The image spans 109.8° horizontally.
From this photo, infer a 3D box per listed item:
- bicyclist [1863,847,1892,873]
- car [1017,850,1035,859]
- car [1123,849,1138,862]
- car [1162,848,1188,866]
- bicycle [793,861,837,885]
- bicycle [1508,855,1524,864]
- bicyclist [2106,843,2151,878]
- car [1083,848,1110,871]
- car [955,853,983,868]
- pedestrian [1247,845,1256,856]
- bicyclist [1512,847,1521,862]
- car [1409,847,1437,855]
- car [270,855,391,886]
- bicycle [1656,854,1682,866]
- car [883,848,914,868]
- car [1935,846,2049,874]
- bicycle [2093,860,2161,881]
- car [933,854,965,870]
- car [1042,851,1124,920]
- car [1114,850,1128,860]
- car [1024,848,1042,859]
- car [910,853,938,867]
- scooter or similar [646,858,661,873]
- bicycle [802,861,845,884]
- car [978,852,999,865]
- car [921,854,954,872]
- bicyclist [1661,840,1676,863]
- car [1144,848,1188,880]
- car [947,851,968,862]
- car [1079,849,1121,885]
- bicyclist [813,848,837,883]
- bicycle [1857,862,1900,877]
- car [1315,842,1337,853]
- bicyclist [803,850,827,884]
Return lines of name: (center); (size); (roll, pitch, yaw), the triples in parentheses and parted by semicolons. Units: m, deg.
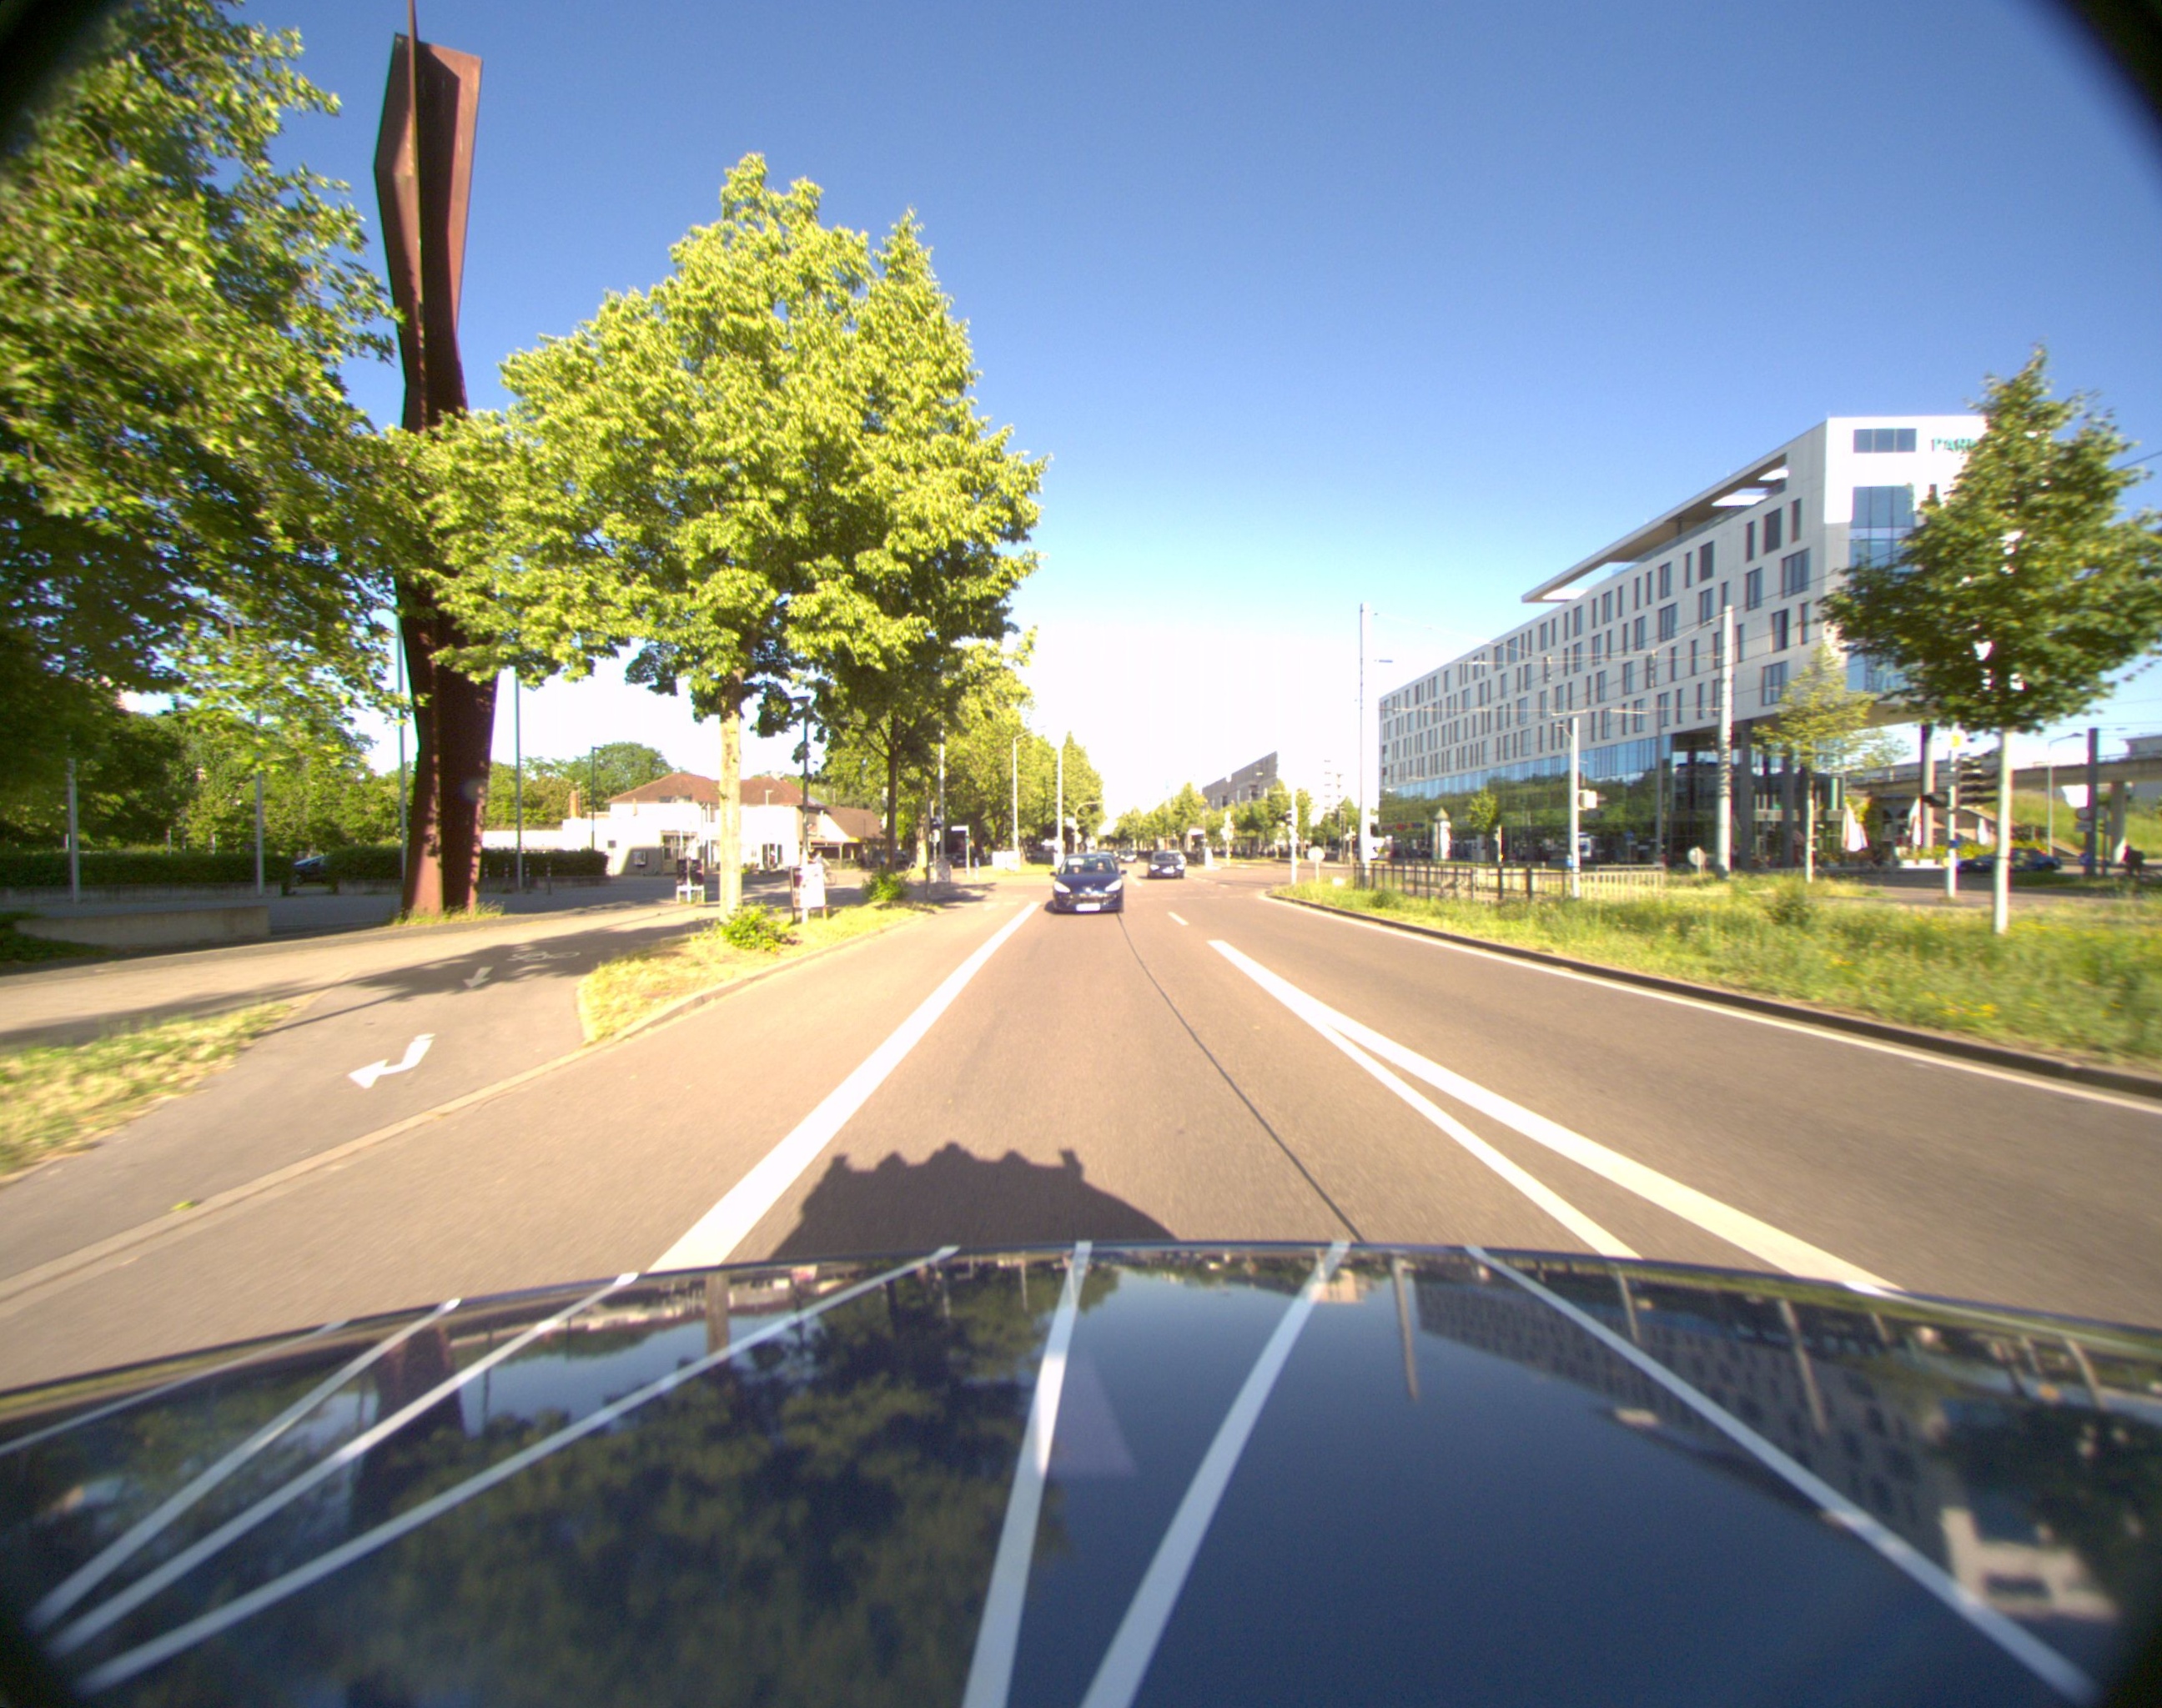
bicyclist: (49.540, 0.386, 47.259); (0.955, 1.574, 0.751); (0, 1, 3)
car: (-8.520, 0.101, 117.933); (1.998, 1.355, 4.867); (-1, 1, 4)
car: (5.829, 0.150, 89.629); (1.675, 1.418, 4.006); (-2, 1, 2)
car: (8.346, 0.245, 67.618); (1.676, 1.418, 4.004); (-2, 1, -2)
bicycle: (-13.267, 0.946, 37.870); (2.100, 1.196, 0.552); (0, 0, 15)
bicycle: (43.026, 0.551, 75.146); (0.483, 0.858, 1.691); (0, 0, -4)
bicyclist: (43.580, 0.251, 31.619); (0.571, 1.427, 0.958); (0, 1, 1)
car: (1.146, 0.387, 54.945); (1.803, 1.518, 4.605); (-2, 1, 2)
car: (-11.856, 0.654, 80.604); (1.898, 1.479, 4.347); (-1, 1, 5)
pedestrian: (22.762, -0.492, 101.485); (1.068, 1.458, 0.844); (-1, 1, 6)
bicyclist: (43.027, 0.042, 75.085); (0.483, 1.414, 0.553); (0, 1, -4)
car: (59.436, -0.540, 131.908); (3.998, 1.347, 1.876); (-2, 1, -3)
car: (-38.616, 0.808, 39.201); (1.995, 1.457, 4.008); (-1, 0, 30)
bicycle: (43.379, 0.465, 56.085); (0.529, 0.858, 1.834); (0, 0, 2)
car: (-19.678, 0.403, 82.169); (1.898, 2.025, 5.071); (1, 1, 3)
car: (52.522, 0.325, 43.875); (3.996, 1.556, 2.000); (0, 1, 4)
bicycle: (43.584, 0.672, 31.670); (0.577, 0.858, 1.692); (0, 0, 1)
car: (-12.339, 0.729, 71.267); (1.898, 1.403, 4.347); (-1, 1, 5)
car: (0.175, 0.738, 20.182); (1.802, 1.518, 4.606); (-2, 1, 4)
car: (6.066, 0.105, 115.835); (1.839, 1.483, 4.005); (-2, 1, 1)
car: (-7.797, -0.094, 123.292); (1.997, 1.587, 4.656); (-1, 1, 7)
car: (-19.008, 0.714, 92.010); (1.898, 1.477, 4.915); (-1, 1, 6)
scooter or similar: (-34.854, 0.952, 61.969); (1.014, 1.157, 0.261); (-1, 1, -42)
bicycle: (-13.135, 0.937, 38.802); (2.100, 1.196, 0.552); (0, 0, 12)
car: (-10.957, 0.548, 90.375); (1.898, 1.477, 4.049); (-1, 1, 1)
car: (-12.564, 0.743, 66.794); (1.898, 1.457, 4.037); (-1, 1, 4)
bicyclist: (43.374, -0.172, 56.096); (0.531, 1.716, 0.837); (0, 1, 2)
car: (4.477, 0.499, 40.536); (1.803, 1.518, 4.342); (-2, 1, 0)
car: (-18.052, 0.369, 111.359); (1.998, 1.520, 4.655); (-1, 1, 4)
car: (0.980, 0.573, 36.415); (1.802, 1.518, 4.606); (-2, 1, 3)
bicyclist: (-13.065, 0.578, 38.758); (0.876, 1.727, 0.833); (0, 0, 12)
bicycle: (49.609, 0.956, 47.263); (1.829, 0.858, 0.749); (0, 1, 3)
car: (36.777, -1.015, 114.183); (1.803, 1.518, 4.342); (-2, 1, 0)
bicyclist: (-13.244, 0.634, 37.844); (0.876, 1.644, 0.794); (0, 0, 12)
